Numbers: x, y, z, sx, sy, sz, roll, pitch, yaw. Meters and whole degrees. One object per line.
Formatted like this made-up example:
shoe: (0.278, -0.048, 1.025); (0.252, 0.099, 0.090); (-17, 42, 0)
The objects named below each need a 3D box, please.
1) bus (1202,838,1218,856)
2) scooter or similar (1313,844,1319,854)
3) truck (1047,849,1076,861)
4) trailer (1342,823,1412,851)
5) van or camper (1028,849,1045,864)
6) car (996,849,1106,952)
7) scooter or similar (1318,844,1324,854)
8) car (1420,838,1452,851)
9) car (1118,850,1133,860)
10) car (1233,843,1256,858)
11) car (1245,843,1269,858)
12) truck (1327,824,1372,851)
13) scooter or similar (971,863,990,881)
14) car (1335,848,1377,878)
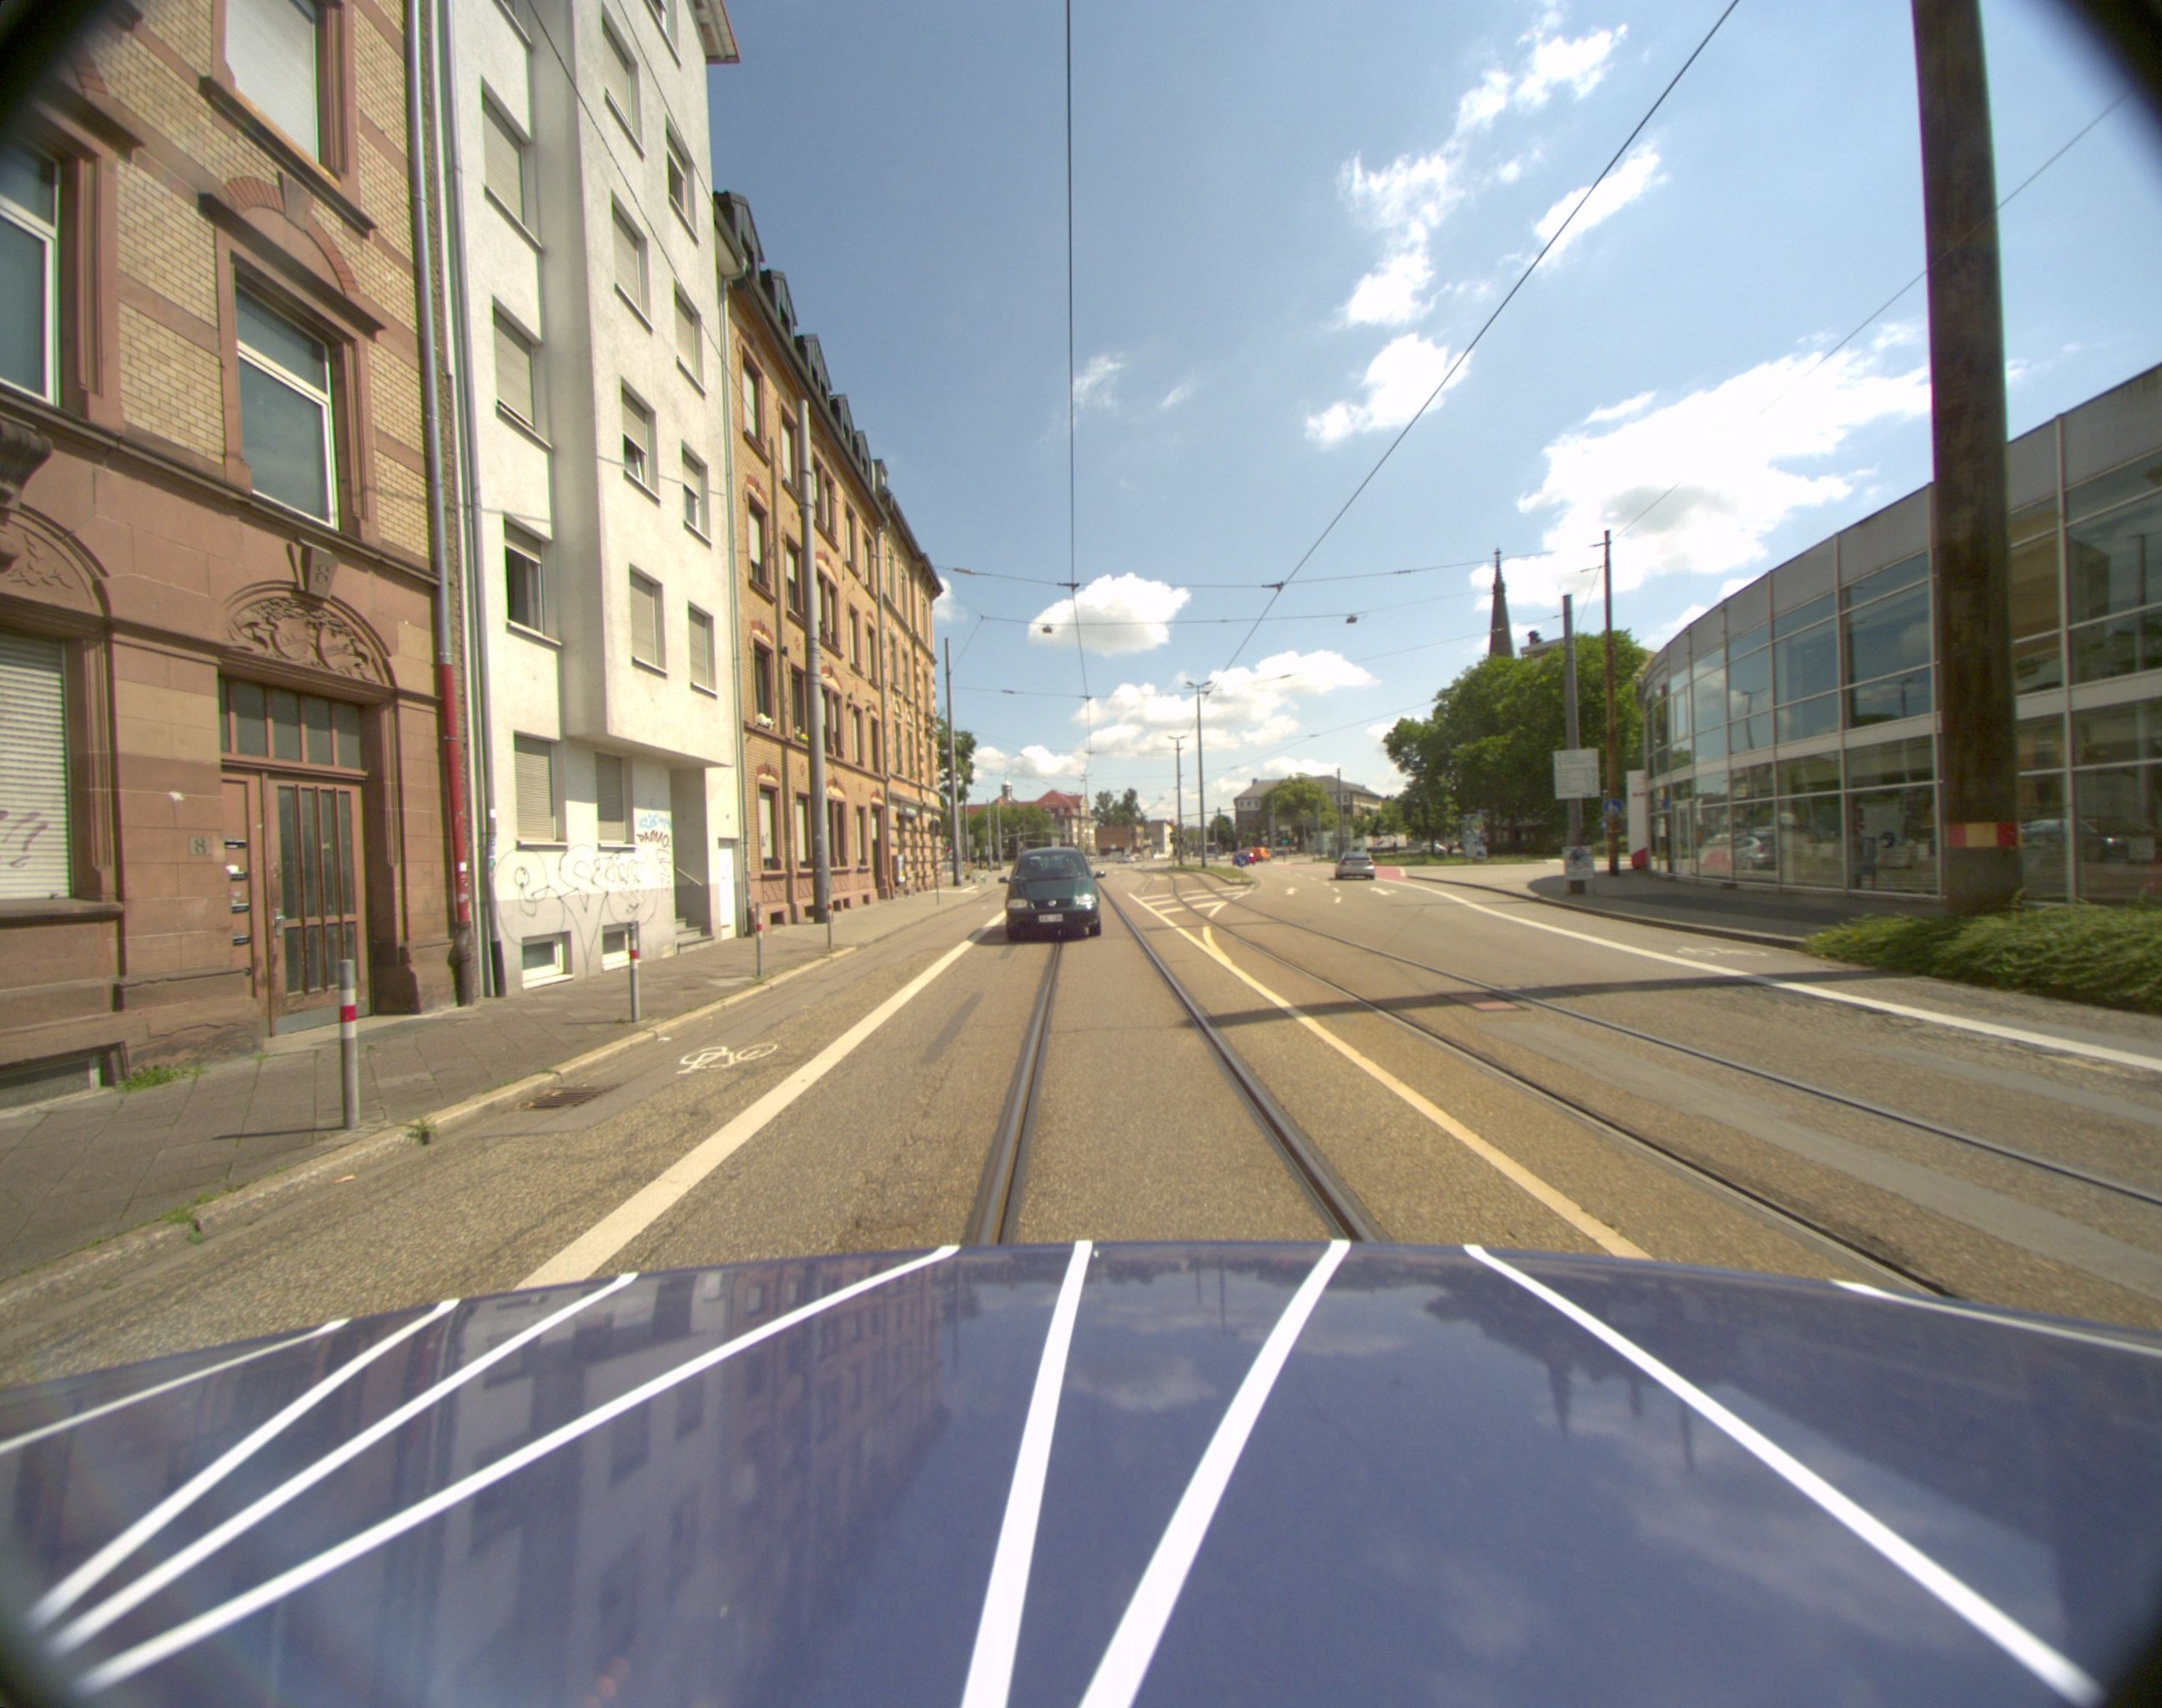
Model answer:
bus: (26.264, -1.365, 154.682); (2.947, 3.427, 7.954); (-2, 0, 11)
scooter or similar: (27.342, -0.600, 88.468); (0.462, 1.193, 0.549); (-2, 0, -1)
truck: (-5.173, 0.357, 204.360); (3.347, 2.980, 8.751); (-2, 0, 32)
trailer: (49.087, -2.855, 125.757); (13.439, 4.053, 2.942); (-2, 1, -31)
van or camper: (-8.315, 0.479, 140.779); (2.234, 2.719, 5.515); (-2, 0, -12)
car: (-0.525, 0.809, 15.358); (1.819, 1.707, 4.085); (-4, 0, 0)
scooter or similar: (27.971, -0.598, 88.594); (0.416, 1.118, 0.556); (-2, 0, -1)
car: (52.443, -1.393, 112.305); (4.164, 1.633, 1.631); (-2, 0, 18)
car: (7.796, 0.186, 132.681); (1.772, 1.594, 4.489); (-1, 0, -8)
car: (16.748, -0.340, 77.869); (1.706, 1.420, 3.902); (-1, 0, 2)
car: (22.644, -0.418, 98.019); (1.916, 1.855, 4.366); (-2, 0, -1)
truck: (43.169, -2.618, 122.243); (6.888, 4.095, 2.957); (-2, 1, -30)
scooter or similar: (-6.609, 1.173, 50.019); (0.949, 1.173, 1.086); (-1, 1, 6)
car: (13.800, 0.422, 38.350); (1.816, 1.412, 4.193); (0, 1, 17)
